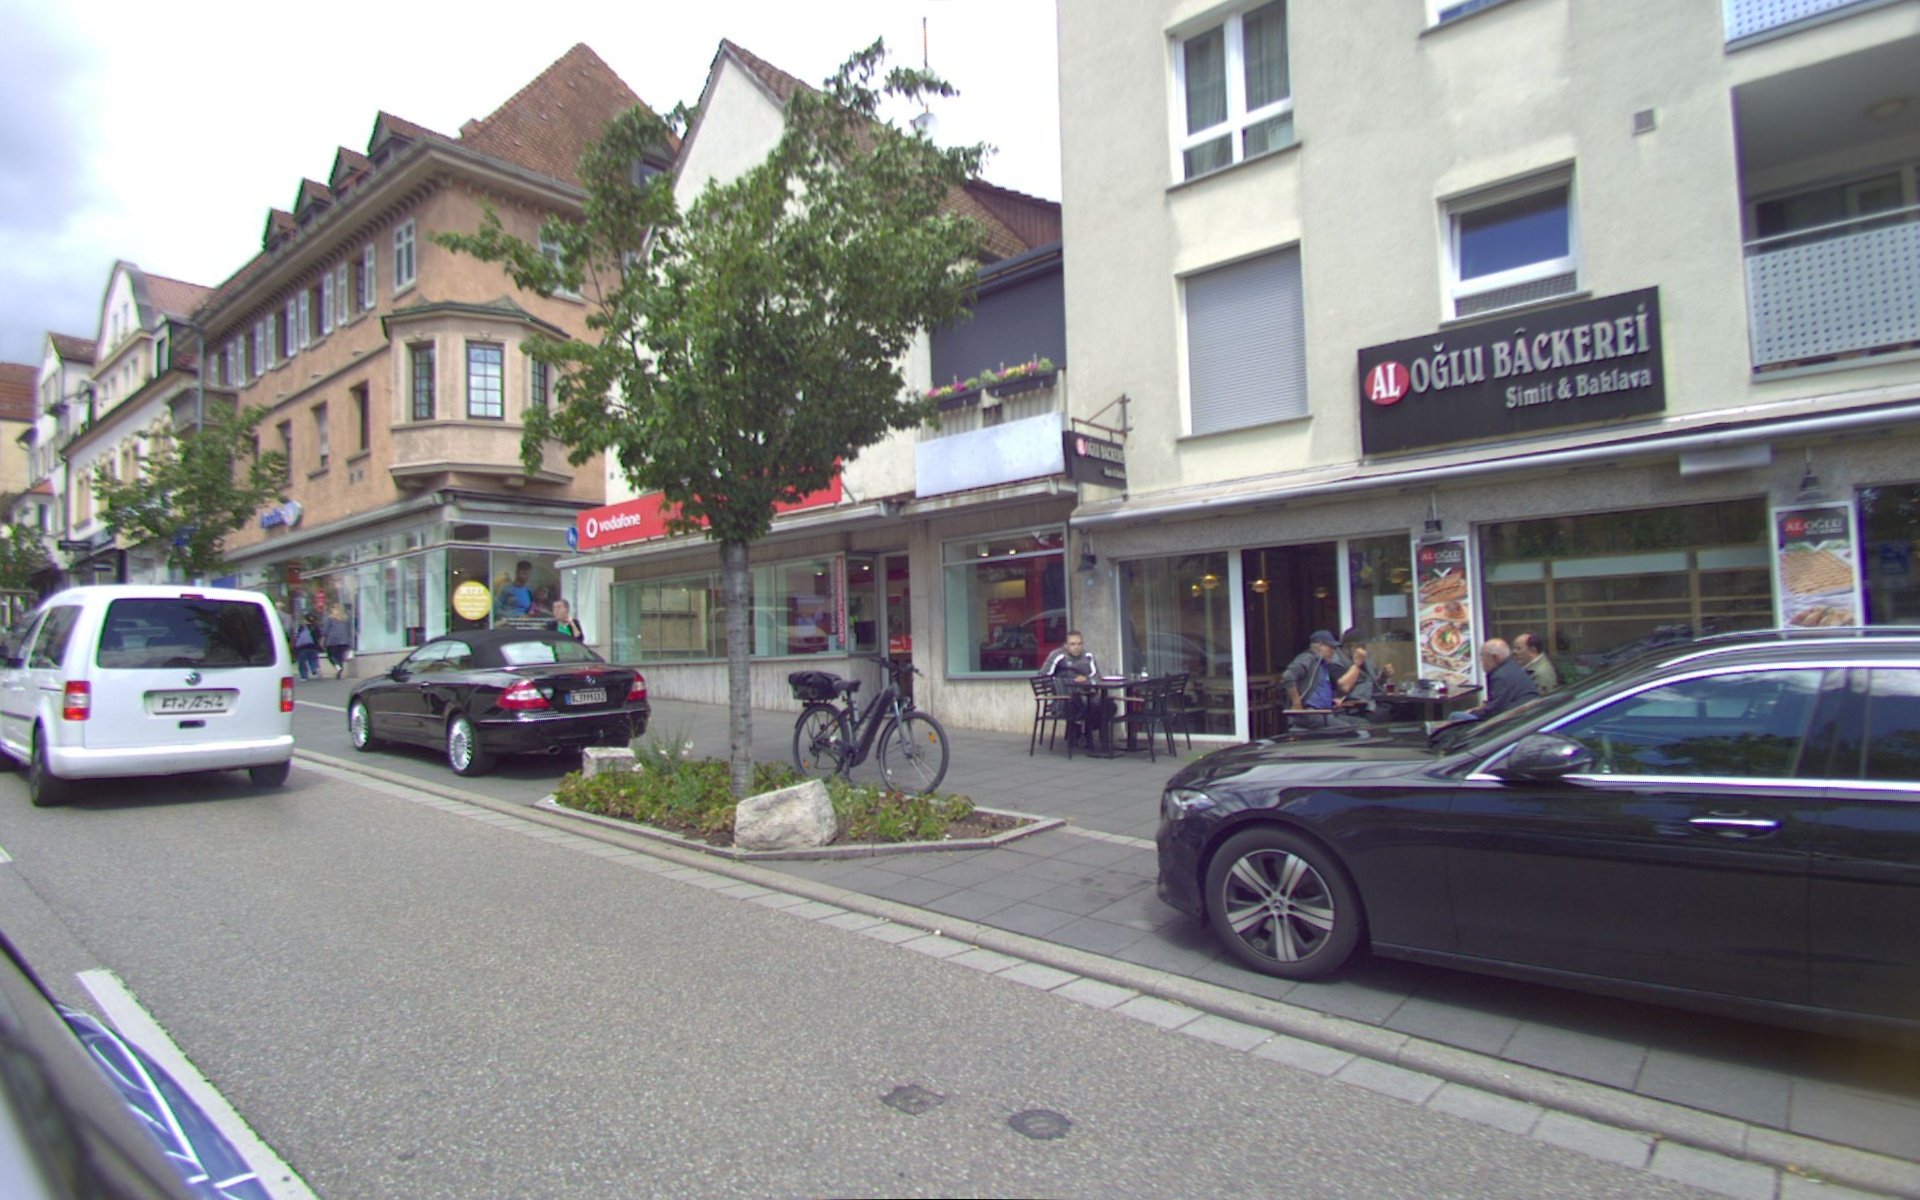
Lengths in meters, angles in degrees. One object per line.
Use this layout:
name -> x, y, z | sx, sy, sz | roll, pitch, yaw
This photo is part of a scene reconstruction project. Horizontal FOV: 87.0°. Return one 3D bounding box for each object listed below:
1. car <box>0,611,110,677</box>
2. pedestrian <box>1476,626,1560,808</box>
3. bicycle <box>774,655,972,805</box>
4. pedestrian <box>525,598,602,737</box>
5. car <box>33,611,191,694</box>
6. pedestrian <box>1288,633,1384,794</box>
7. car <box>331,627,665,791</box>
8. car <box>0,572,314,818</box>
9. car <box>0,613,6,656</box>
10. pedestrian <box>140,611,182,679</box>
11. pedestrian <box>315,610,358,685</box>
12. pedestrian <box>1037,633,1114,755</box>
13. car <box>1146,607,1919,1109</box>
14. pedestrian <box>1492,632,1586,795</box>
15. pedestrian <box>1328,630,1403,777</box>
car -> -23.792, 1.088, 26.443 | 3.958, 1.537, 1.648 | 0, 0, 38
pedestrian -> 4.220, 0.861, 7.655 | 0.454, 1.310, 0.417 | -2, -2, 40
bicycle -> -0.794, 1.061, 8.721 | 1.906, 1.115, 0.479 | -1, -1, 39
pedestrian -> -5.285, 0.870, 13.491 | 0.777, 1.774, 0.653 | 0, -1, 40
car -> -18.194, 1.045, 21.642 | 4.449, 1.585, 1.709 | 0, -1, 38
pedestrian -> 3.176, 0.927, 8.556 | 0.598, 1.277, 0.544 | -1, -1, 40
car -> -5.181, 1.018, 11.053 | 4.441, 1.403, 1.640 | -1, -1, 41
car -> -7.824, 0.775, 9.554 | 4.210, 1.816, 1.728 | -1, -4, 41
car -> -34.321, 1.166, 34.863 | 3.500, 1.442, 1.710 | 0, -1, 40
pedestrian -> -19.245, 1.065, 24.379 | 0.650, 1.585, 0.621 | -1, 2, 39
pedestrian -> -13.642, 1.028, 22.143 | 0.641, 1.594, 0.607 | 0, -1, 38
pedestrian -> 1.252, 0.994, 11.010 | 0.598, 1.256, 0.589 | -1, -1, 40
car -> 3.171, 0.773, 3.885 | 4.508, 1.462, 1.822 | -1, 0, 38
pedestrian -> 4.704, 0.893, 8.223 | 0.566, 1.259, 0.422 | -2, -2, 40
pedestrian -> 3.618, 0.901, 9.031 | 0.499, 1.259, 0.391 | -2, -2, 40
